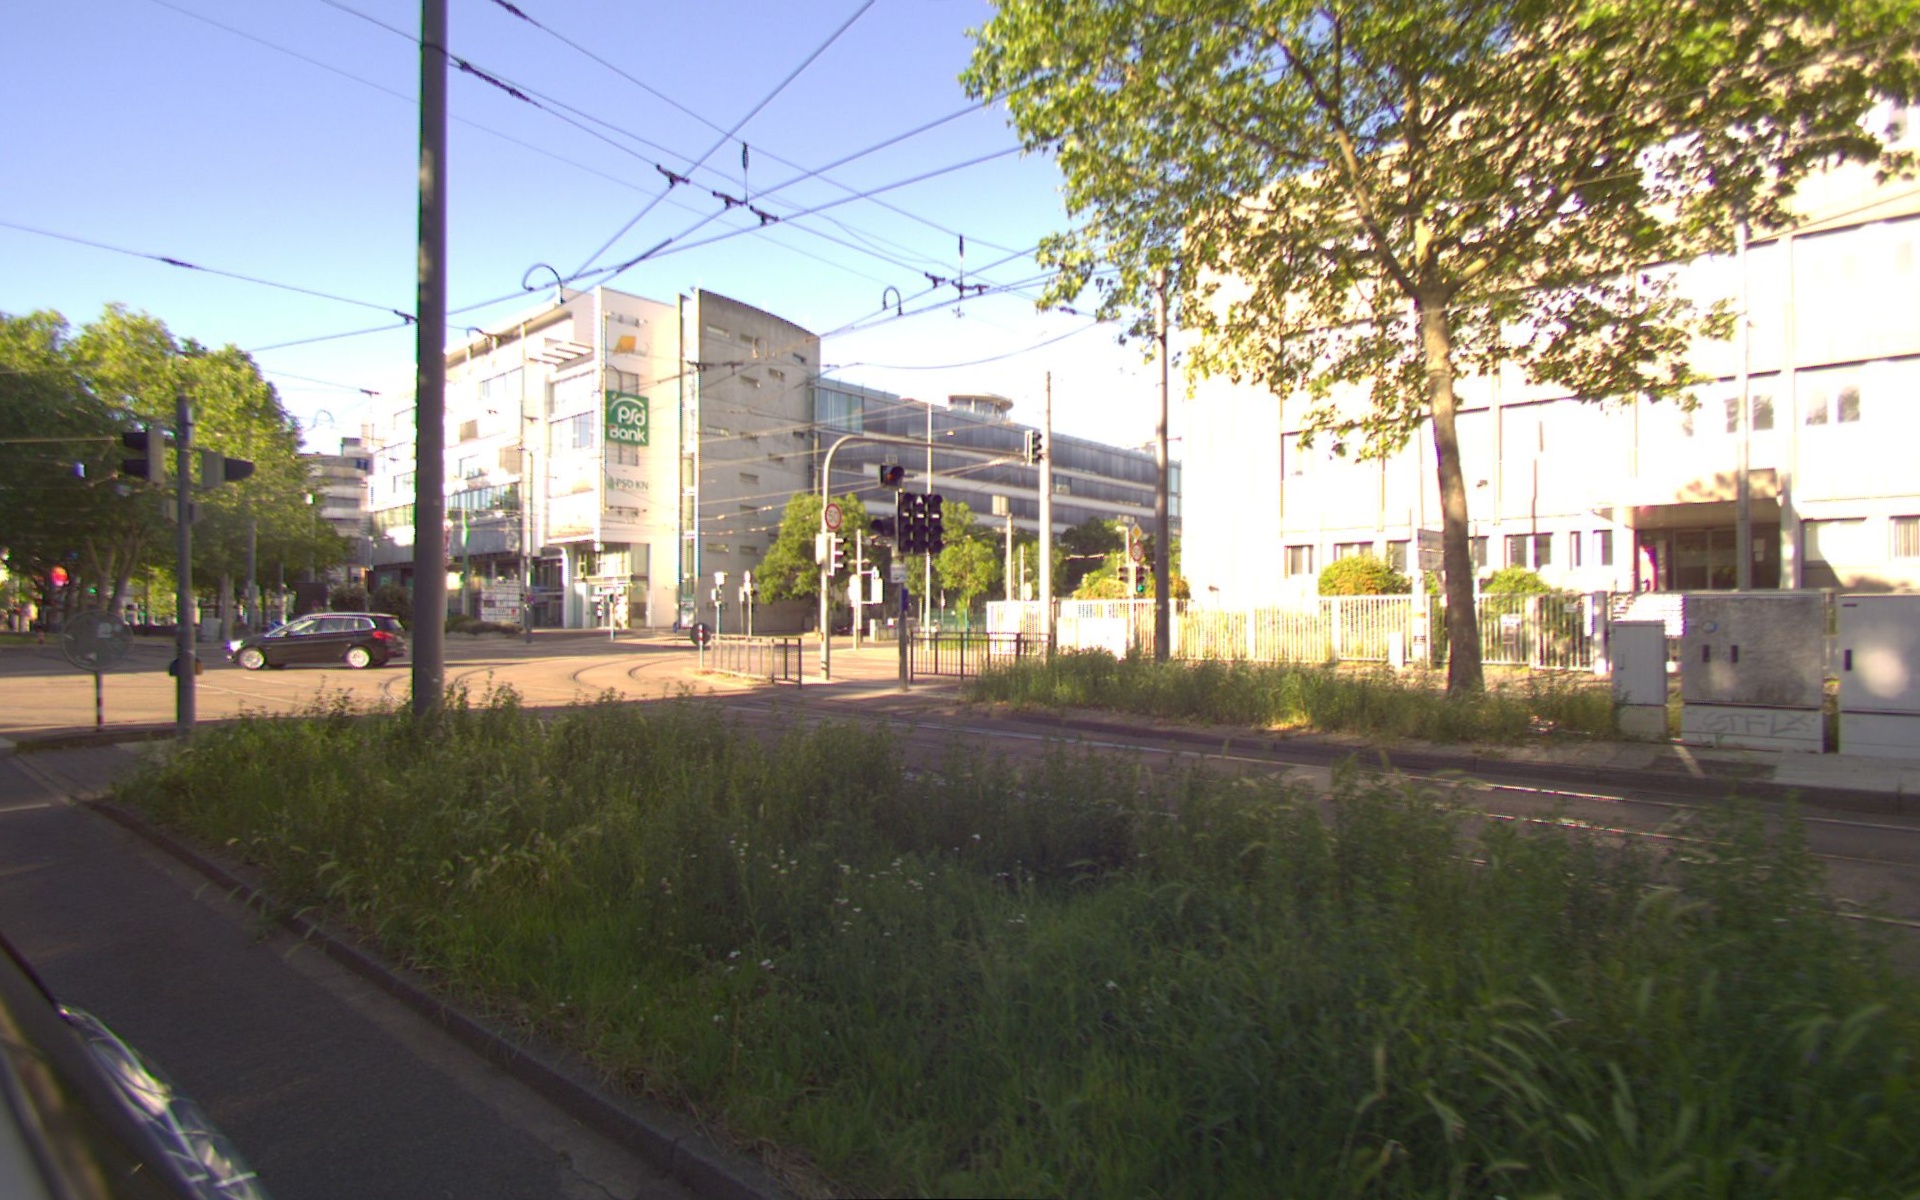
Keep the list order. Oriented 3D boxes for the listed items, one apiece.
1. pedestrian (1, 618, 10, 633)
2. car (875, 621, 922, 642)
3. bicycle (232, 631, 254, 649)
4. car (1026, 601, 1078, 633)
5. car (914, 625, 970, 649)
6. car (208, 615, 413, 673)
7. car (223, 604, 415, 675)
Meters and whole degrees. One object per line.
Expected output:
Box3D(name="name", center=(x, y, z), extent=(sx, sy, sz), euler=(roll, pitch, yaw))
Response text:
Box3D(name="pedestrian", center=(-111.639, 2.958, 118.394), extent=(0.674, 1.767, 0.649), euler=(-2, -2, 34))
Box3D(name="car", center=(-5.155, 2.596, 85.000), extent=(1.734, 1.666, 3.900), euler=(-1, -1, 40))
Box3D(name="bicycle", center=(-39.865, 2.217, 56.237), extent=(0.803, 0.953, 1.728), euler=(1, -2, -42))
Box3D(name="car", center=(7.470, 1.392, 81.989), extent=(2.180, 2.524, 4.343), euler=(-1, -1, 39))
Box3D(name="car", center=(-1.269, 2.644, 72.911), extent=(2.104, 1.710, 3.923), euler=(-1, -2, 35))
Box3D(name="car", center=(-19.023, 1.266, 29.879), extent=(4.676, 1.629, 2.005), euler=(0, -2, -12))
Box3D(name="car", center=(-18.764, 1.143, 29.840), extent=(4.351, 1.962, 2.005), euler=(0, -1, -11))
